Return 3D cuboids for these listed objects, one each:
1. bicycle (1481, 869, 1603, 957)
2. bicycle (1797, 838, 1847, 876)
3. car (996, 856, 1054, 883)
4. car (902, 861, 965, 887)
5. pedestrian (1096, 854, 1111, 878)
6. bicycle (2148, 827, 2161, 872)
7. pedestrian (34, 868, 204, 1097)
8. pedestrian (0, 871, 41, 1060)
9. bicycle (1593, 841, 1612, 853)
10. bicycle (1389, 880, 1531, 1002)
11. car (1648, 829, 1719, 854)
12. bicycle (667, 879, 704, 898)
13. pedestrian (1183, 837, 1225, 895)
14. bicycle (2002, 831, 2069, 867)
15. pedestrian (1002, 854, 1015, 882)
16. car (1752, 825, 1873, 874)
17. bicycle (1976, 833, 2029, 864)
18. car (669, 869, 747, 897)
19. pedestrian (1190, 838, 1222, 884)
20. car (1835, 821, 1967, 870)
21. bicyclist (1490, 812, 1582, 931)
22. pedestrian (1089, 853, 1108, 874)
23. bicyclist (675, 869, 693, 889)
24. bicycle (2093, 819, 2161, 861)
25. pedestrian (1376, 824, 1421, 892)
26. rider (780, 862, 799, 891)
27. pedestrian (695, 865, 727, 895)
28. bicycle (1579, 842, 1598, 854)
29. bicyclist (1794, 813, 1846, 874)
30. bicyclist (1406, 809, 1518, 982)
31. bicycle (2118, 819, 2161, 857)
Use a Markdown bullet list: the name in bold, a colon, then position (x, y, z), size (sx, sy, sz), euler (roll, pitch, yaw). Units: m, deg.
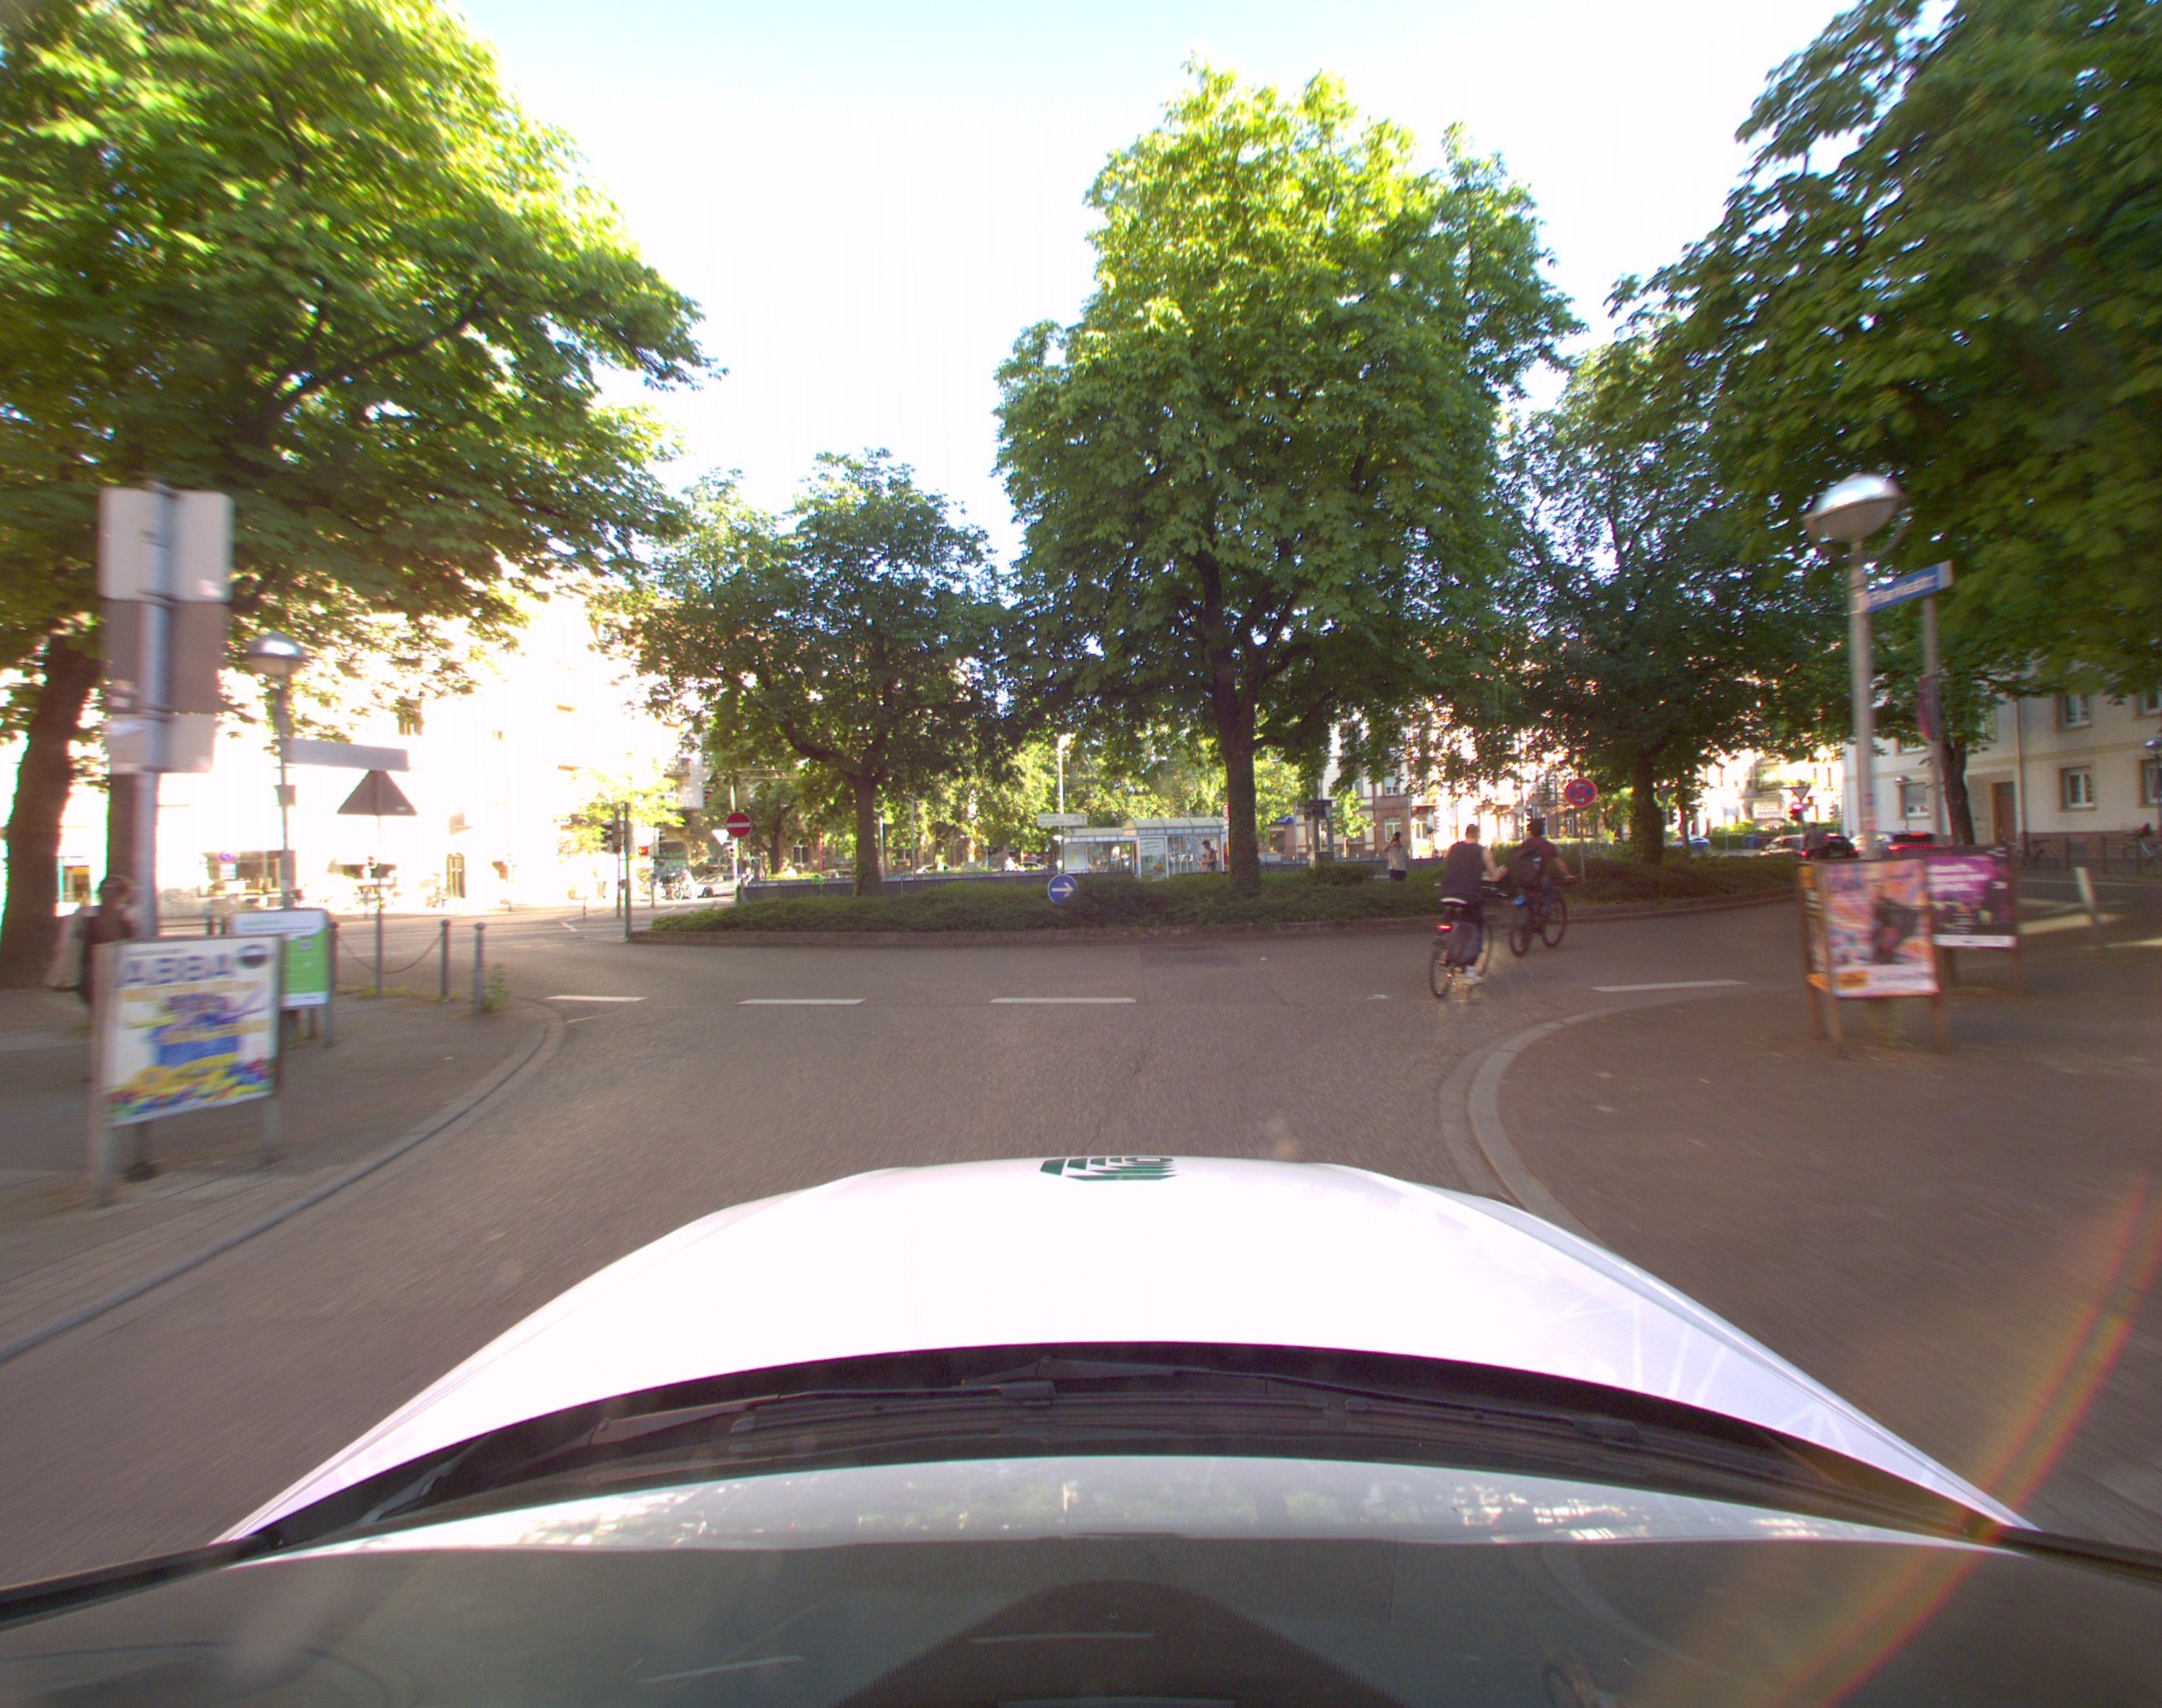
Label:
- **bicycle**: position (6.286, 0.756, 11.053), size (2.071, 1.054, 0.668), euler (-1, -2, -39)
- **bicycle**: position (23.963, 0.090, 26.365), size (0.592, 1.161, 2.053), euler (-2, 0, 25)
- **car**: position (-4.290, 1.203, 62.589), size (4.005, 1.870, 1.984), euler (-2, 0, -24)
- **car**: position (-10.596, 1.423, 58.592), size (3.971, 1.679, 1.931), euler (-2, 0, -42)
- **pedestrian**: position (1.464, 0.783, 53.273), size (0.809, 1.543, 0.818), euler (0, 0, -9)
- **bicycle**: position (26.910, -0.116, 19.729), size (0.610, 1.113, 2.005), euler (-7, -2, 34)
- **pedestrian**: position (-7.410, 0.929, 6.317), size (0.604, 1.605, 0.846), euler (-2, 0, -34)
- **pedestrian**: position (-9.852, 0.987, 6.916), size (0.867, 1.643, 0.857), euler (-2, 0, -11)
- **bicycle**: position (40.939, -0.554, 63.931), size (1.217, 0.861, 0.450), euler (-2, 0, -3)
- **bicycle**: position (4.002, 0.833, 8.505), size (0.731, 1.012, 2.074), euler (-1, 1, 43)
- **car**: position (43.796, -0.870, 59.216), size (4.372, 1.496, 1.988), euler (-4, 0, -18)
- **bicycle**: position (-21.869, 1.892, 45.059), size (0.646, 0.945, 1.753), euler (-2, 0, 29)
- **pedestrian**: position (3.672, 0.347, 24.266), size (0.887, 1.684, 0.825), euler (-3, 0, 36)
- **bicycle**: position (30.597, -0.169, 26.144), size (0.610, 1.058, 1.940), euler (-4, -1, 26)
- **pedestrian**: position (-4.526, 0.868, 50.861), size (0.704, 1.695, 0.666), euler (0, 0, -20)
- **car**: position (26.452, -0.150, 29.635), size (1.798, 1.543, 3.978), euler (-4, -2, 19)
- **bicycle**: position (31.226, -0.211, 27.627), size (0.515, 0.999, 2.205), euler (-3, 0, 31)
- **car**: position (-21.829, 1.692, 47.814), size (1.877, 1.439, 3.729), euler (-2, 0, 28)
- **pedestrian**: position (5.379, 0.298, 35.064), size (1.020, 1.897, 0.906), euler (-2, 0, -20)
- **car**: position (29.476, -0.304, 29.455), size (1.875, 1.577, 4.021), euler (-2, 0, 22)
- **bicyclist**: position (6.118, 0.219, 10.953), size (1.074, 1.514, 0.666), euler (-1, -2, -39)
- **pedestrian**: position (1.355, 0.730, 63.749), size (1.069, 1.630, 0.993), euler (-2, 0, -35)
- **bicyclist**: position (-21.928, 1.378, 44.981), size (0.604, 1.054, 0.681), euler (-2, 0, 29)
- **bicycle**: position (31.882, -0.414, 24.751), size (0.489, 1.172, 2.130), euler (-6, -2, 27)
- **pedestrian**: position (8.227, 0.106, 21.166), size (0.909, 1.684, 0.782), euler (-3, 0, 12)
- **rider**: position (-17.369, 1.336, 48.521), size (0.813, 1.681, 0.673), euler (0, 0, 12)
- **pedestrian**: position (-24.914, 1.729, 54.874), size (1.244, 1.912, 1.504), euler (-3, -1, 33)
- **bicycle**: position (39.748, -0.475, 63.778), size (1.217, 0.861, 0.450), euler (-2, 0, -3)
- **bicyclist**: position (23.952, -0.332, 26.421), size (0.843, 1.898, 1.146), euler (-3, 0, 23)
- **bicyclist**: position (3.986, 0.406, 8.508), size (0.745, 1.682, 0.919), euler (-3, -1, 43)
- **bicycle**: position (32.428, -0.493, 24.538), size (0.576, 1.114, 2.130), euler (-3, -1, 28)
